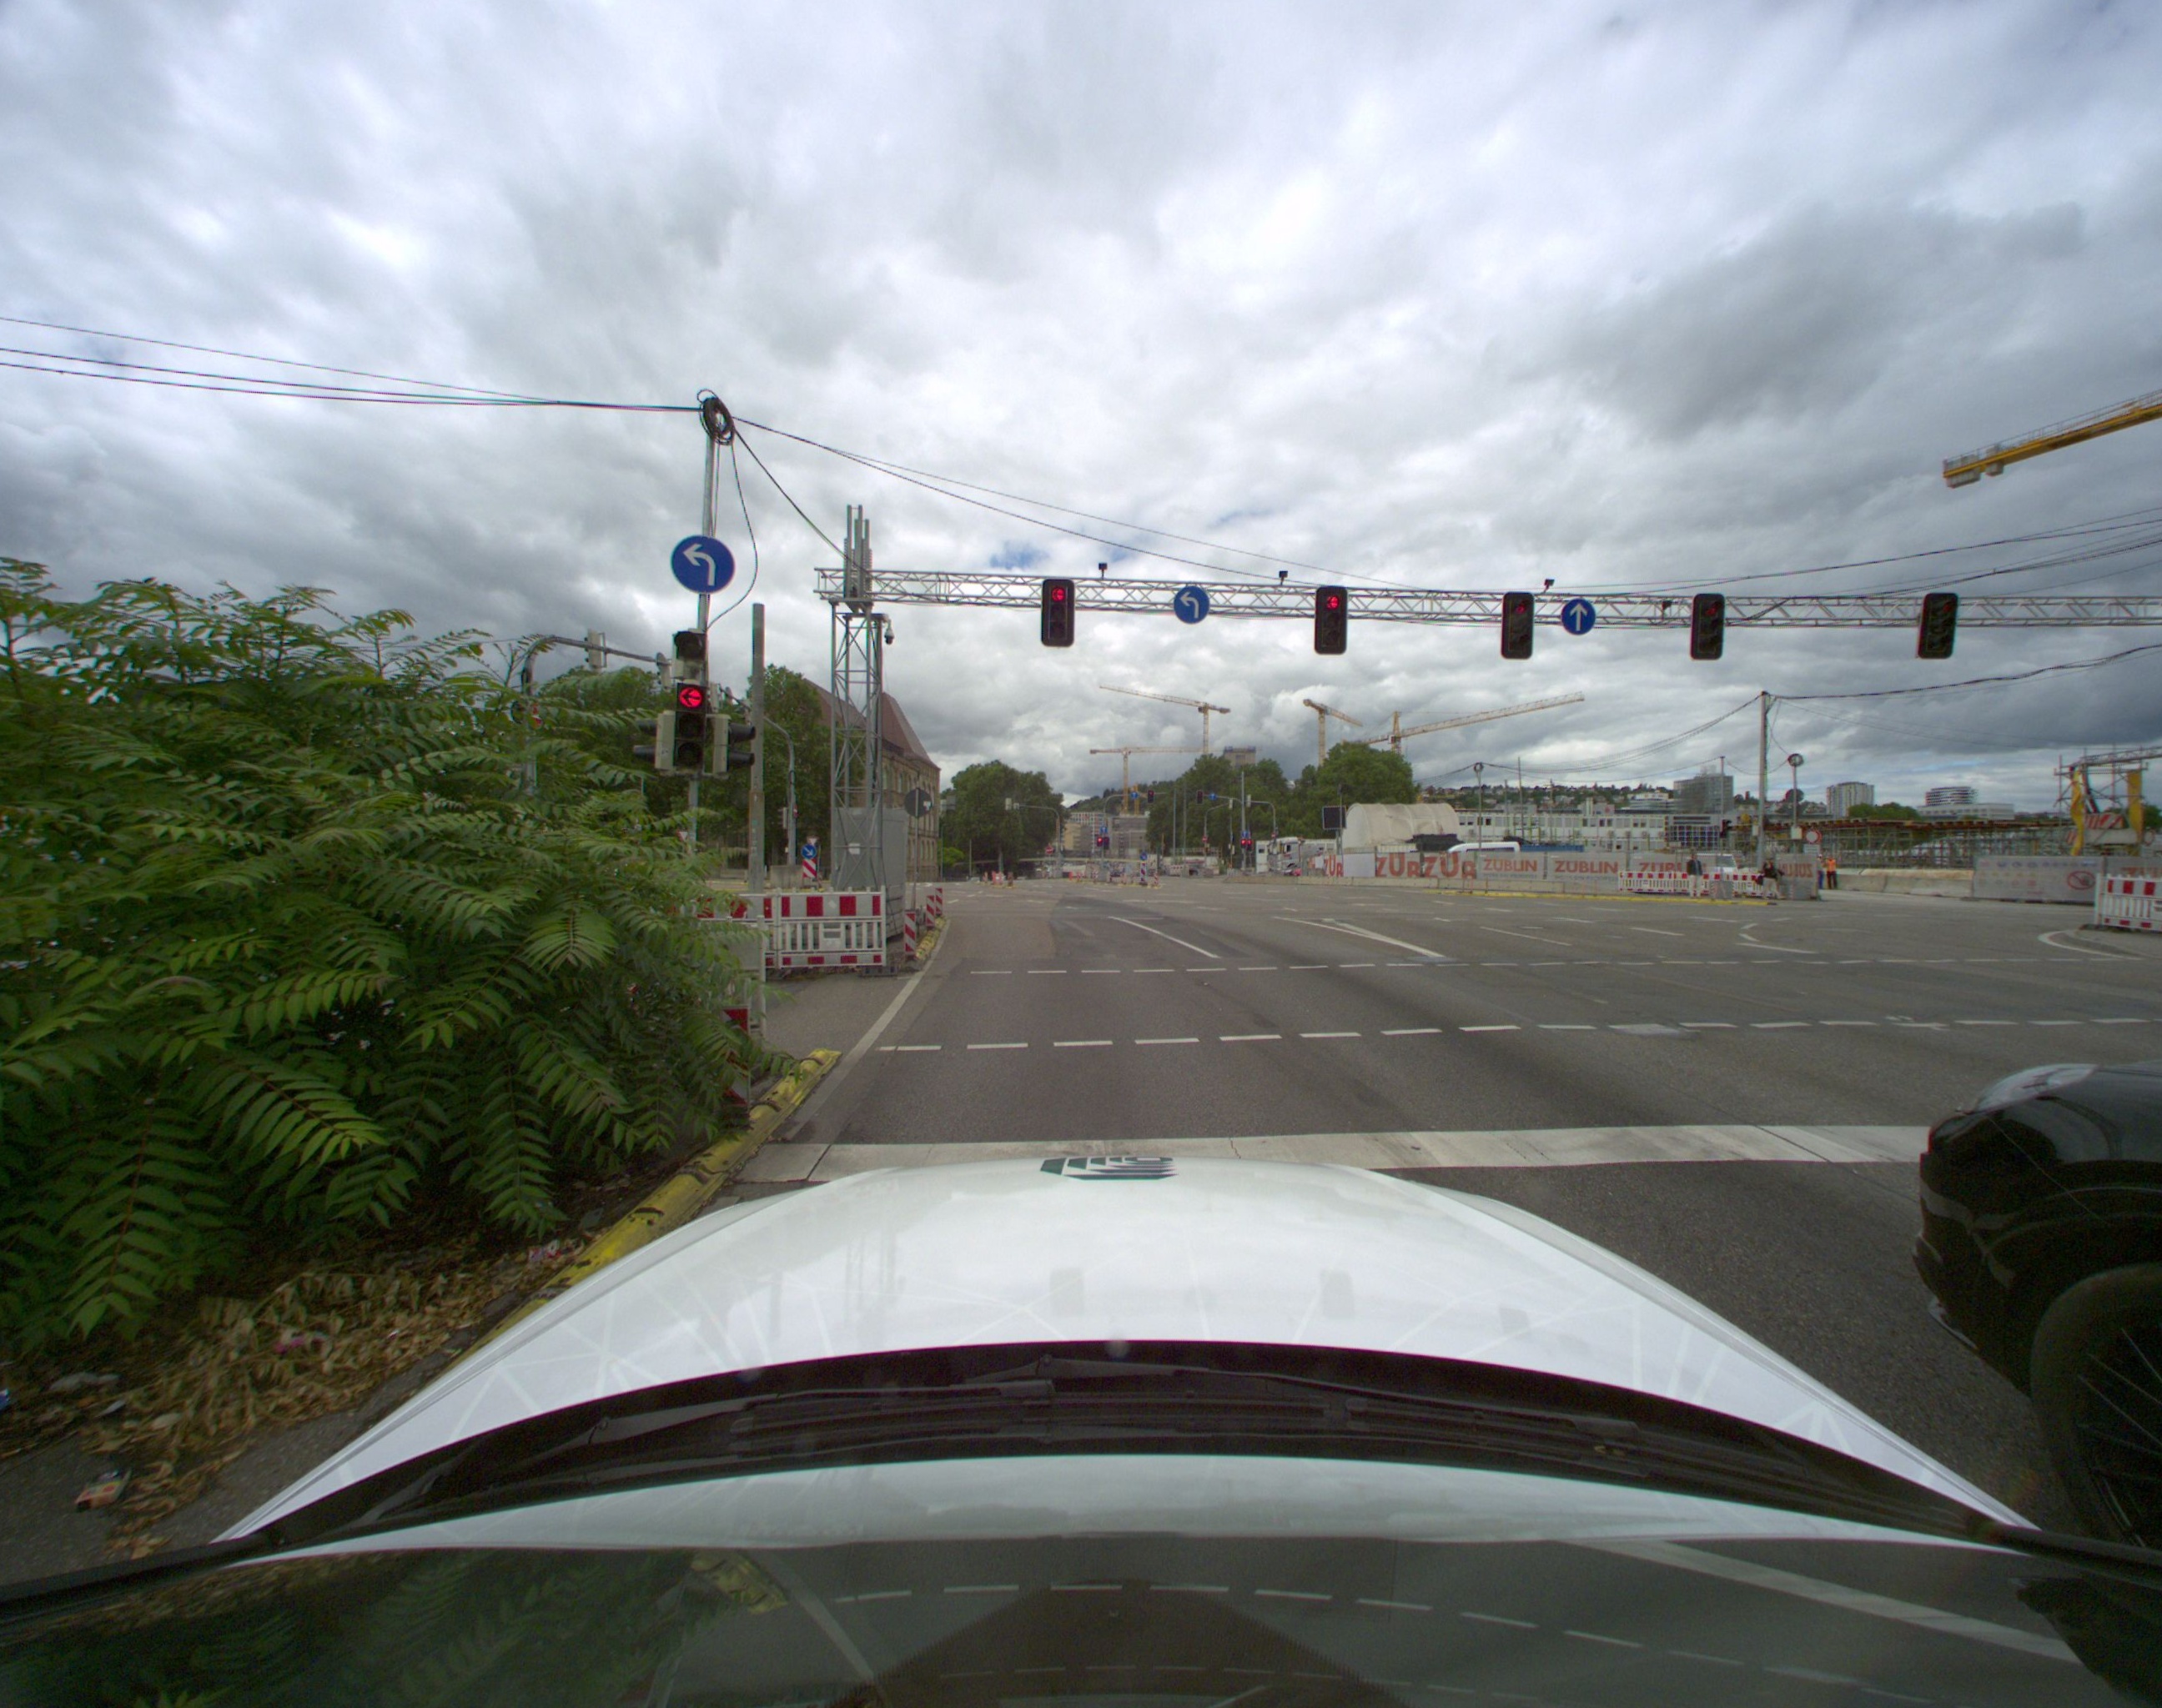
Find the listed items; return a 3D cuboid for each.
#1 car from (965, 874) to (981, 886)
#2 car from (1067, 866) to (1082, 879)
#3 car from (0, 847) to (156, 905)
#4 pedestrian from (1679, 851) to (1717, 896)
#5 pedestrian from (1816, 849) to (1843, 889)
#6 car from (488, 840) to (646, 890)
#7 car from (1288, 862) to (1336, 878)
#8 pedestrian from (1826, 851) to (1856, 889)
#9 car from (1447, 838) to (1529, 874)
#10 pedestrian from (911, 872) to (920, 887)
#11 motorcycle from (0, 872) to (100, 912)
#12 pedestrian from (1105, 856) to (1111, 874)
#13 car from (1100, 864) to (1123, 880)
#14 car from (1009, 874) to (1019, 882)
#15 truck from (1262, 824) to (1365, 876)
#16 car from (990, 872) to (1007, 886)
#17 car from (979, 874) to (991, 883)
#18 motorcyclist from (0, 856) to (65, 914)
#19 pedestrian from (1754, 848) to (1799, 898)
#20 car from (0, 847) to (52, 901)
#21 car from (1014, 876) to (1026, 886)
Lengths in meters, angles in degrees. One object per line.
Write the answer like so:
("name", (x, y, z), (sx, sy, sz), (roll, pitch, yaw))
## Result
("car", (-17.430, 4.210, 131.279), (1.987, 1.838, 3.998), (0, -1, -1))
("car", (-1.076, 2.923, 131.003), (1.992, 2.014, 3.989), (0, -1, -8))
("car", (-29.299, 0.609, 22.929), (4.095, 1.547, 1.999), (0, -1, -2))
("pedestrian", (25.799, 0.810, 34.071), (1.035, 1.848, 0.794), (-1, -1, 17))
("pedestrian", (38.285, 0.743, 41.650), (0.673, 2.014, 0.869), (-1, -1, 14))
("car", (-18.951, 0.385, 30.239), (4.489, 1.759, 1.994), (0, -1, -9))
("car", (20.622, 1.405, 72.756), (3.820, 1.386, 1.792), (0, -1, -20))
("pedestrian", (39.173, 0.836, 41.982), (0.677, 1.916, 0.865), (0, -1, -4))
("car", (23.465, 0.120, 47.093), (3.955, 2.014, 2.009), (-1, -1, 17))
("pedestrian", (-21.811, 3.355, 107.214), (0.946, 2.014, 0.767), (0, -1, 3))
("motorcycle", (-25.515, 0.908, 19.824), (2.342, 0.941, 0.697), (0, -1, -2))
("pedestrian", (2.738, 1.118, 81.832), (0.583, 1.840, 0.604), (0, -1, -2))
("car", (3.983, 2.326, 107.185), (1.997, 2.014, 4.256), (0, -1, -15))
("car", (-15.095, 5.343, 182.866), (1.987, 1.838, 3.998), (0, -1, -1))
("truck", (22.948, -0.397, 80.506), (9.742, 4.961, 3.094), (0, -1, -19))
("car", (-11.765, 3.537, 116.061), (1.987, 1.838, 3.998), (0, -1, -1))
("car", (-19.876, 5.121, 169.113), (1.987, 1.838, 3.998), (0, -1, -1))
("motorcyclist", (-25.578, 0.742, 19.831), (0.786, 1.380, 0.697), (0, -1, -2))
("pedestrian", (28.432, 0.785, 33.306), (1.036, 2.014, 1.038), (-1, -1, 13))
("car", (-32.838, 0.579, 23.307), (4.095, 1.547, 1.999), (0, -1, -1))
("car", (-11.622, 5.106, 155.668), (1.987, 1.838, 3.998), (0, -1, -1))
